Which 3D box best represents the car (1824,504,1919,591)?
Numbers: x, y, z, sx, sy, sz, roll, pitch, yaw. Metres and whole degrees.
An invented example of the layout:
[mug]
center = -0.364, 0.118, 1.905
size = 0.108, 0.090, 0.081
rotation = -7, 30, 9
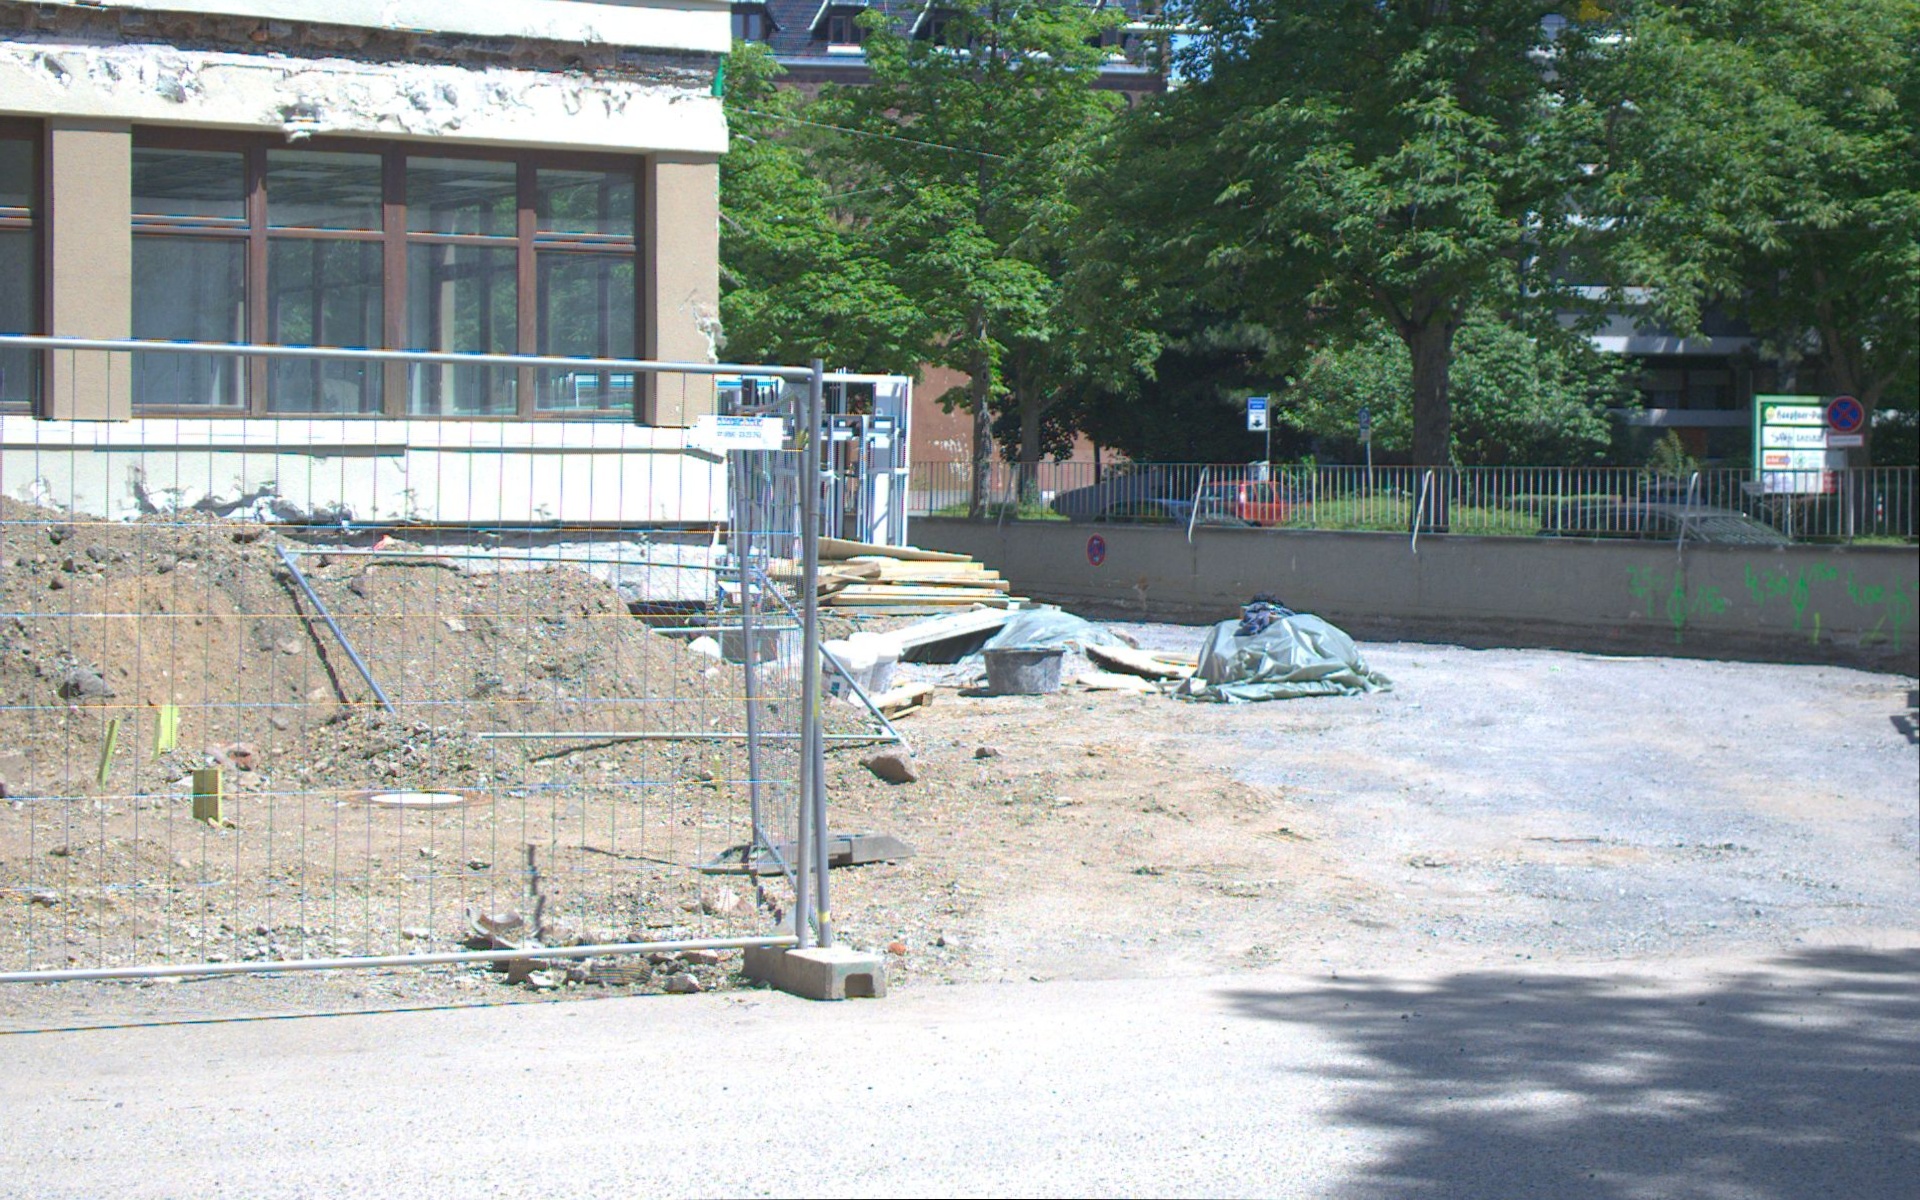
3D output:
[car]
center = 15.172, -0.896, 56.977
size = 1.634, 1.382, 3.676
rotation = 1, 2, 14
